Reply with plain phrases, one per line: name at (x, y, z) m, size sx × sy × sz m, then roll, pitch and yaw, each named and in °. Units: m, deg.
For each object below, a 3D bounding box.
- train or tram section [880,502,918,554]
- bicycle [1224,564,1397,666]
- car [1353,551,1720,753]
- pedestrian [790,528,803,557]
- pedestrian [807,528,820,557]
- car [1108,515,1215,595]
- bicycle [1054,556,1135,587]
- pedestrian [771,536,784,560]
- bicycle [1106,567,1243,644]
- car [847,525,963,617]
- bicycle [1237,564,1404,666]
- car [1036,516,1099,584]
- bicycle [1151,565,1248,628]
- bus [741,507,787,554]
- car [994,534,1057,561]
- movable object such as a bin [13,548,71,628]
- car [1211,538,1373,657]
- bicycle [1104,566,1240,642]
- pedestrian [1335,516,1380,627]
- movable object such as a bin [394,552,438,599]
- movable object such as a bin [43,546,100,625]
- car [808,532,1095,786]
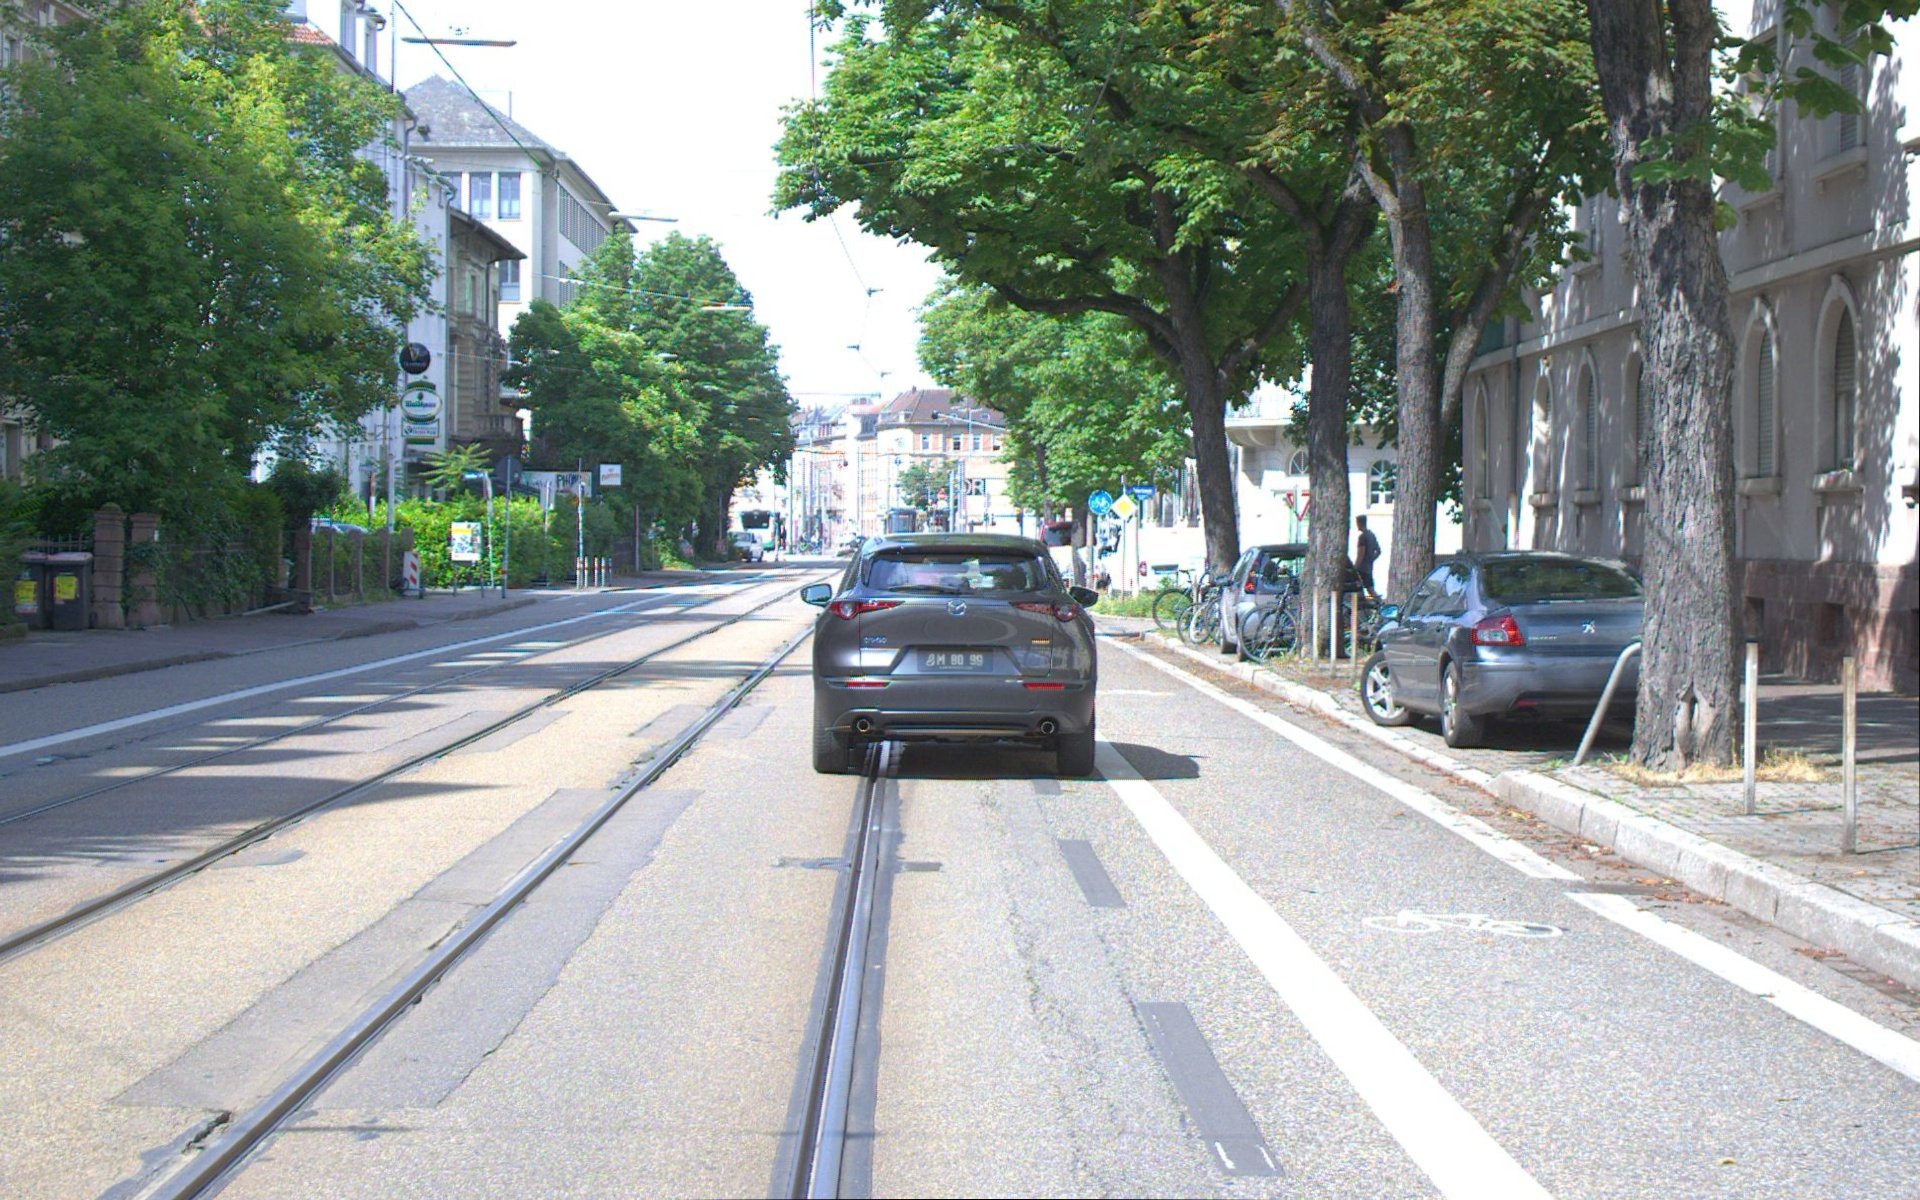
train or tram section at (-4.446, -5.261, 251.658) m, size 2.571 × 3.759 × 13.026 m, roll 0°, pitch 1°, yaw 0°
bicycle at (4.053, 0.174, 39.743) m, size 1.938 × 1.172 × 0.513 m, roll 0°, pitch 0°, yaw 11°
car at (4.399, 0.339, 26.918) m, size 1.846 × 1.404 × 4.395 m, roll -1°, pitch 1°, yaw -4°
pedestrian at (-11.459, -4.016, 240.761) m, size 0.884 × 2.007 × 0.618 m, roll 1°, pitch 1°, yaw -4°
pedestrian at (-10.252, -4.038, 240.773) m, size 0.884 × 2.007 × 0.618 m, roll 1°, pitch 1°, yaw -4°
car at (4.993, -1.155, 85.945) m, size 1.786 × 1.932 × 4.992 m, roll 0°, pitch 1°, yaw -7°
bicycle at (3.880, -0.833, 99.421) m, size 2.275 × 0.858 × 0.672 m, roll 1°, pitch 1°, yaw -1°
pedestrian at (-11.510, -3.287, 216.421) m, size 0.751 × 1.505 × 0.824 m, roll 1°, pitch 1°, yaw -5°
bicycle at (3.054, 0.082, 49.012) m, size 1.903 × 1.068 × 0.402 m, roll 1°, pitch 1°, yaw 0°
car at (-1.012, -0.549, 62.889) m, size 1.993 × 1.523 × 4.000 m, roll 3°, pitch 1°, yaw -1°
bicycle at (4.222, 0.177, 40.262) m, size 1.895 × 1.172 × 0.513 m, roll 0°, pitch 0°, yaw 11°
car at (3.186, -1.497, 102.764) m, size 1.720 × 1.962 × 4.207 m, roll 1°, pitch 1°, yaw 0°
bicycle at (3.750, -0.053, 53.856) m, size 1.491 × 0.980 × 0.259 m, roll 0°, pitch 0°, yaw 2°
bus at (-14.987, -5.318, 262.421) m, size 2.688 × 3.409 × 11.020 m, roll 3°, pitch 1°, yaw -7°
car at (4.325, -3.483, 227.870) m, size 3.805 × 1.612 × 1.638 m, roll 3°, pitch 1°, yaw -18°
movable object such as a bin at (-12.827, -0.171, 48.052) m, size 0.549 × 1.104 × 0.789 m, roll 1°, pitch 1°, yaw 4°
car at (4.236, -0.065, 44.337) m, size 1.666 × 1.425 × 3.766 m, roll -1°, pitch 1°, yaw 0°
bicycle at (3.046, 0.056, 49.470) m, size 1.903 × 1.068 × 0.402 m, roll 1°, pitch 1°, yaw 0°
pedestrian at (6.608, -0.463, 57.141) m, size 0.610 × 1.829 × 0.879 m, roll 0°, pitch -1°, yaw -3°
movable object such as a bin at (-11.775, -0.531, 74.445) m, size 0.745 × 0.984 × 1.114 m, roll 3°, pitch 1°, yaw -1°
movable object such as a bin at (-12.354, -0.206, 47.805) m, size 0.537 × 1.090 × 0.789 m, roll 1°, pitch 1°, yaw 4°
car at (-0.089, 0.325, 22.599) m, size 1.720 × 1.521 × 3.590 m, roll 1°, pitch 1°, yaw -1°
